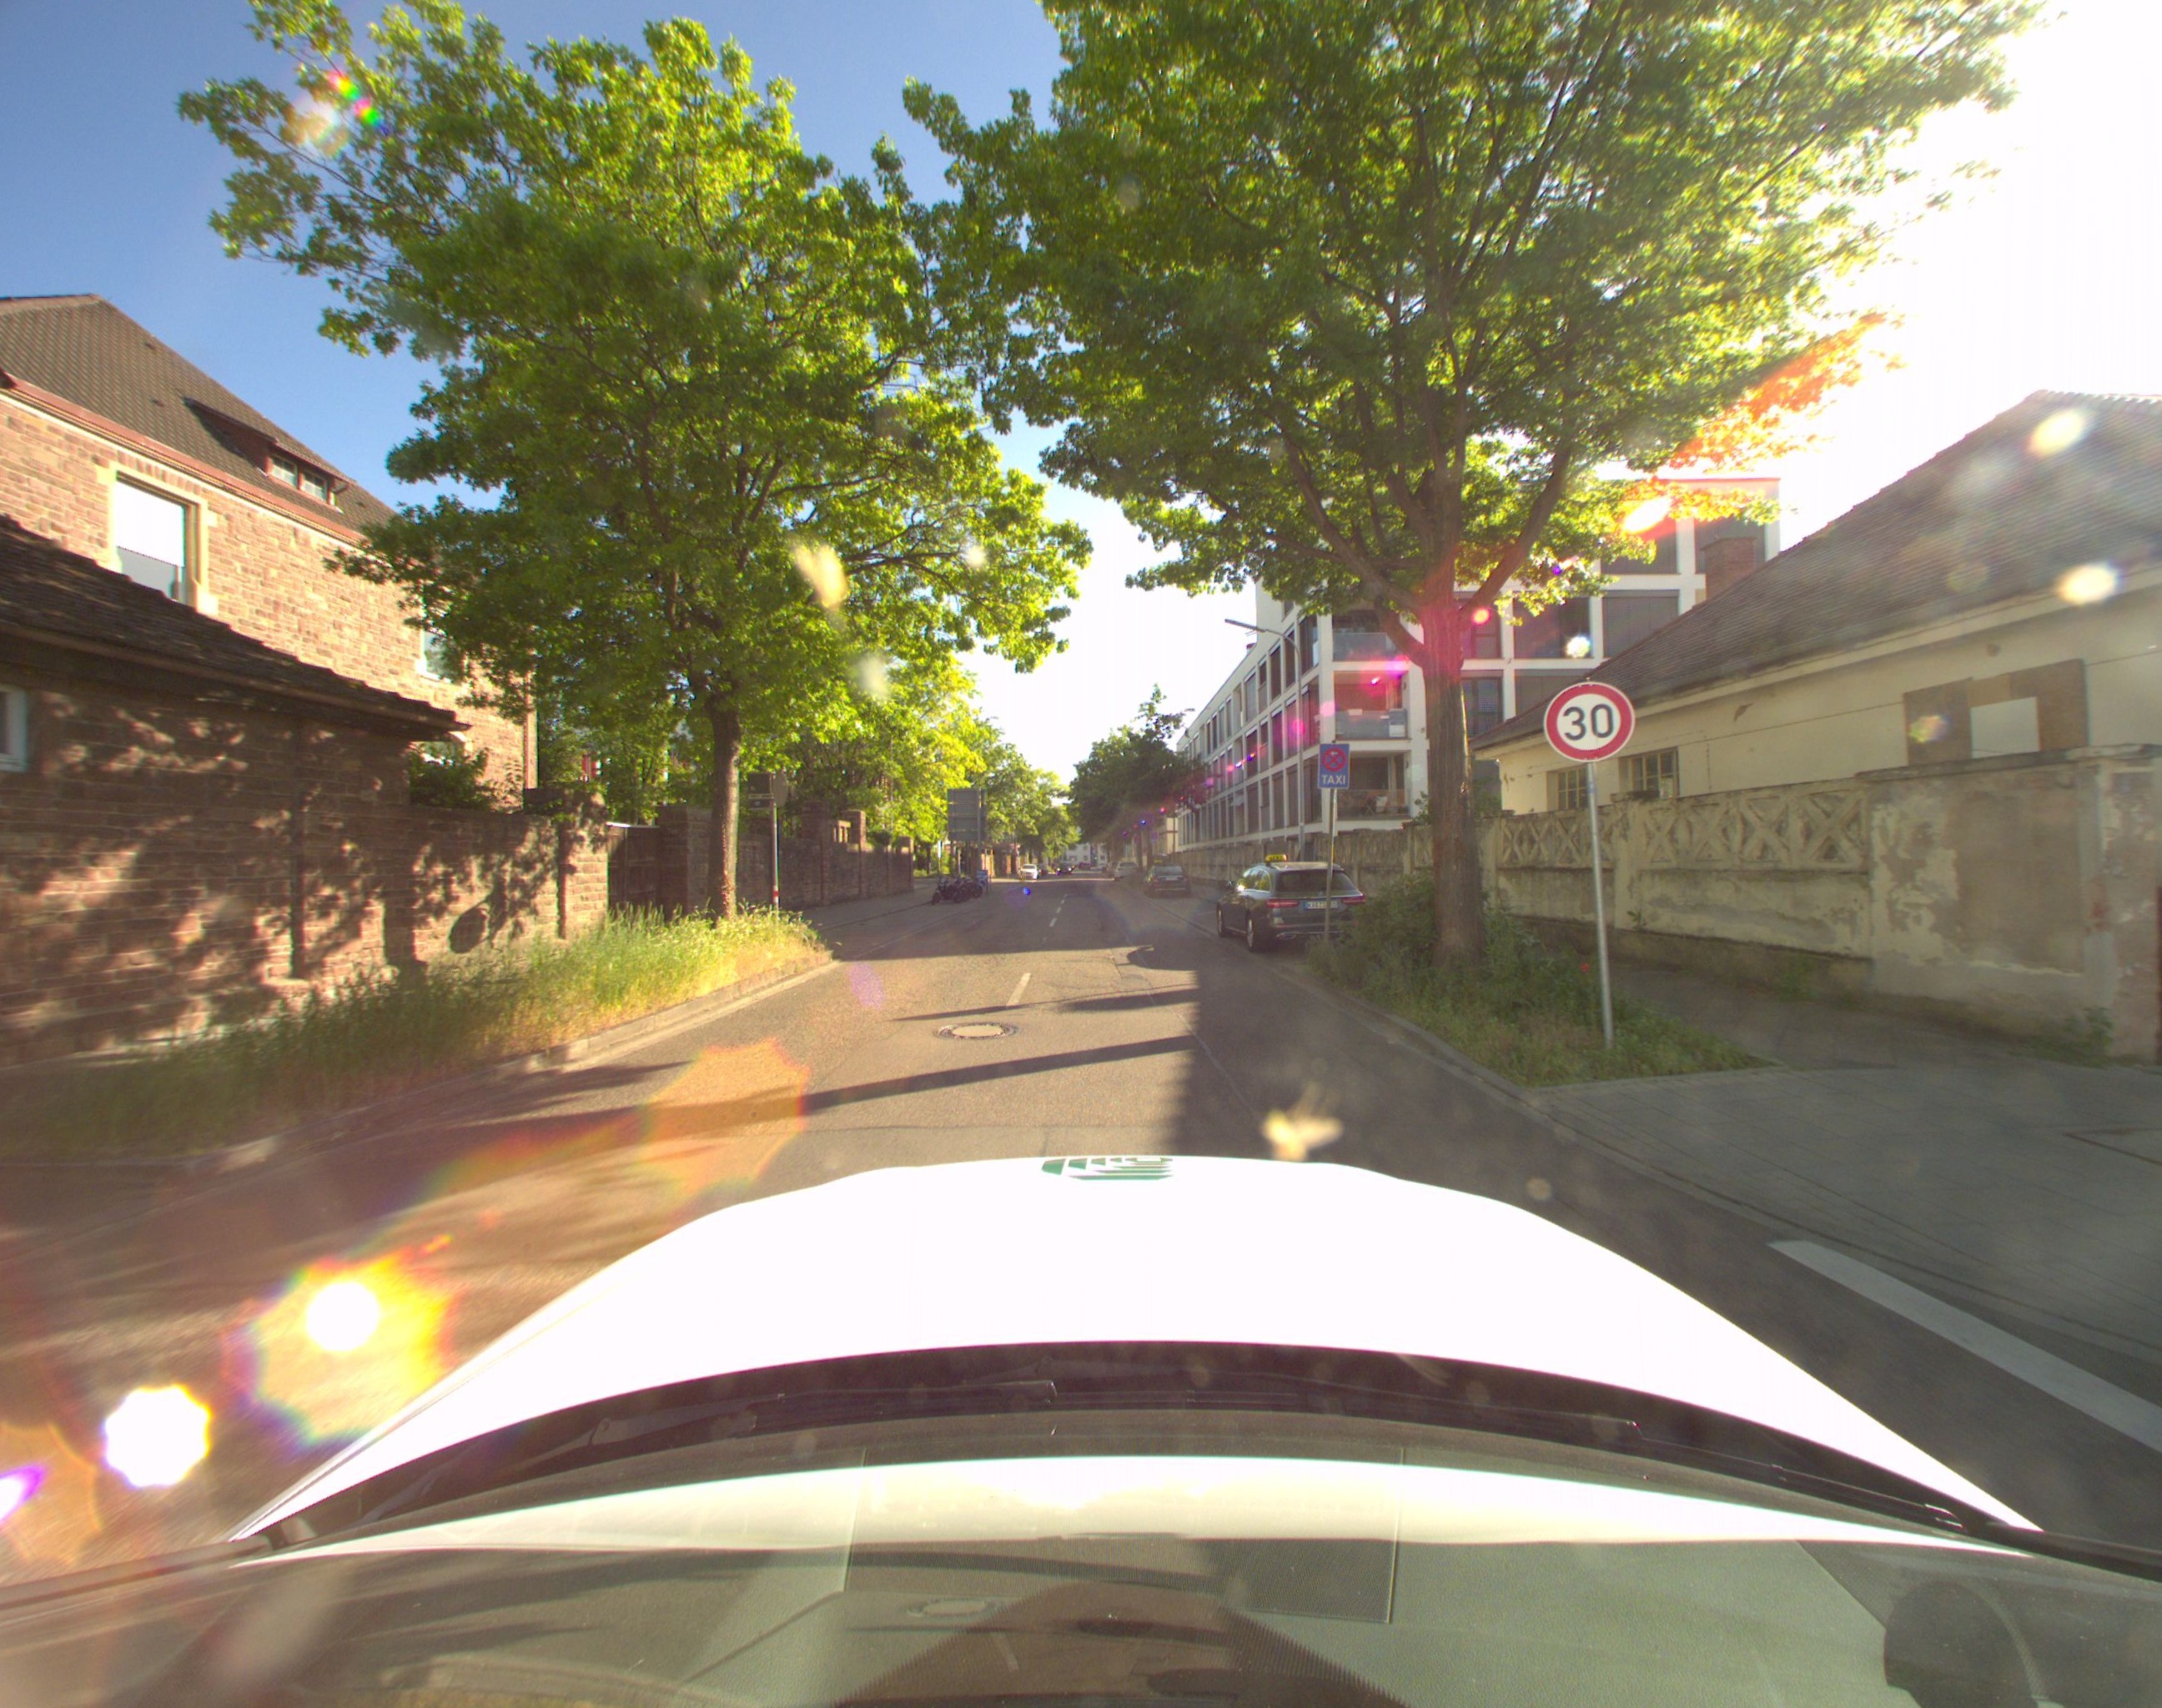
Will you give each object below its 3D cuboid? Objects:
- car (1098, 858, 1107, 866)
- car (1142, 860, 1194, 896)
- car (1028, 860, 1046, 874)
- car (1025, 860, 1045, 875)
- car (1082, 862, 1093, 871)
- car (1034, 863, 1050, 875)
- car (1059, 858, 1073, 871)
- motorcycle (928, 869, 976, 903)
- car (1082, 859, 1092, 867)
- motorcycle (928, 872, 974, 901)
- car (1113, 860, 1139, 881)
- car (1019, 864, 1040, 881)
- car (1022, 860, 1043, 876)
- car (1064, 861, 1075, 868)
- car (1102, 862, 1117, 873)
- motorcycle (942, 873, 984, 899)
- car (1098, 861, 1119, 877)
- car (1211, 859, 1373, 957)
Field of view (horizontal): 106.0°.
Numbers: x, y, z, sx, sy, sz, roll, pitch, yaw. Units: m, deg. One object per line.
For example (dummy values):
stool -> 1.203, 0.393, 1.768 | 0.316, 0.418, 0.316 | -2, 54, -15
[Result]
car -> 3.767, 1.482, 145.975 | 1.580, 1.400, 3.837 | -1, 0, 1
car -> 3.808, 1.030, 36.200 | 1.762, 1.440, 3.998 | -1, 0, -1
car -> -5.146, 1.513, 95.116 | 1.901, 1.530, 3.999 | -1, 0, 0
car -> -5.128, 1.491, 90.975 | 1.901, 1.530, 3.999 | -1, 0, 0
car -> 1.213, 2.297, 153.229 | 1.763, 1.548, 4.061 | -1, 0, -3
car -> -5.124, 1.969, 108.174 | 1.901, 1.530, 3.999 | -1, 0, 0
car -> -1.880, 1.274, 101.190 | 1.648, 1.530, 3.999 | -1, 0, 0
motorcycle -> -5.129, 1.264, 32.542 | 0.570, 1.276, 2.135 | -1, 0, 33
car -> 1.140, 1.731, 153.364 | 1.882, 1.400, 3.837 | -1, 0, 1
motorcycle -> -5.361, 1.336, 33.744 | 0.570, 1.074, 2.135 | -1, 0, 33
car -> 3.563, 1.313, 64.969 | 1.944, 1.578, 3.837 | -1, 0, 1
car -> -4.882, 1.723, 76.951 | 1.762, 1.487, 3.998 | -1, 0, -1
car -> -4.892, 1.447, 82.947 | 1.901, 1.530, 3.999 | -1, 0, 0
car -> -2.317, 2.050, 160.000 | 1.986, 1.453, 4.001 | -1, 0, 1
car -> 3.912, 1.864, 111.731 | 1.986, 1.425, 3.837 | -1, 0, 1
motorcycle -> -5.288, 1.411, 36.576 | 0.570, 1.074, 2.135 | -1, 0, 33
car -> 2.666, 1.466, 80.717 | 1.986, 1.465, 3.837 | -1, 0, 1
car -> 3.602, 0.838, 14.817 | 1.698, 1.468, 4.788 | -1, 0, 0
